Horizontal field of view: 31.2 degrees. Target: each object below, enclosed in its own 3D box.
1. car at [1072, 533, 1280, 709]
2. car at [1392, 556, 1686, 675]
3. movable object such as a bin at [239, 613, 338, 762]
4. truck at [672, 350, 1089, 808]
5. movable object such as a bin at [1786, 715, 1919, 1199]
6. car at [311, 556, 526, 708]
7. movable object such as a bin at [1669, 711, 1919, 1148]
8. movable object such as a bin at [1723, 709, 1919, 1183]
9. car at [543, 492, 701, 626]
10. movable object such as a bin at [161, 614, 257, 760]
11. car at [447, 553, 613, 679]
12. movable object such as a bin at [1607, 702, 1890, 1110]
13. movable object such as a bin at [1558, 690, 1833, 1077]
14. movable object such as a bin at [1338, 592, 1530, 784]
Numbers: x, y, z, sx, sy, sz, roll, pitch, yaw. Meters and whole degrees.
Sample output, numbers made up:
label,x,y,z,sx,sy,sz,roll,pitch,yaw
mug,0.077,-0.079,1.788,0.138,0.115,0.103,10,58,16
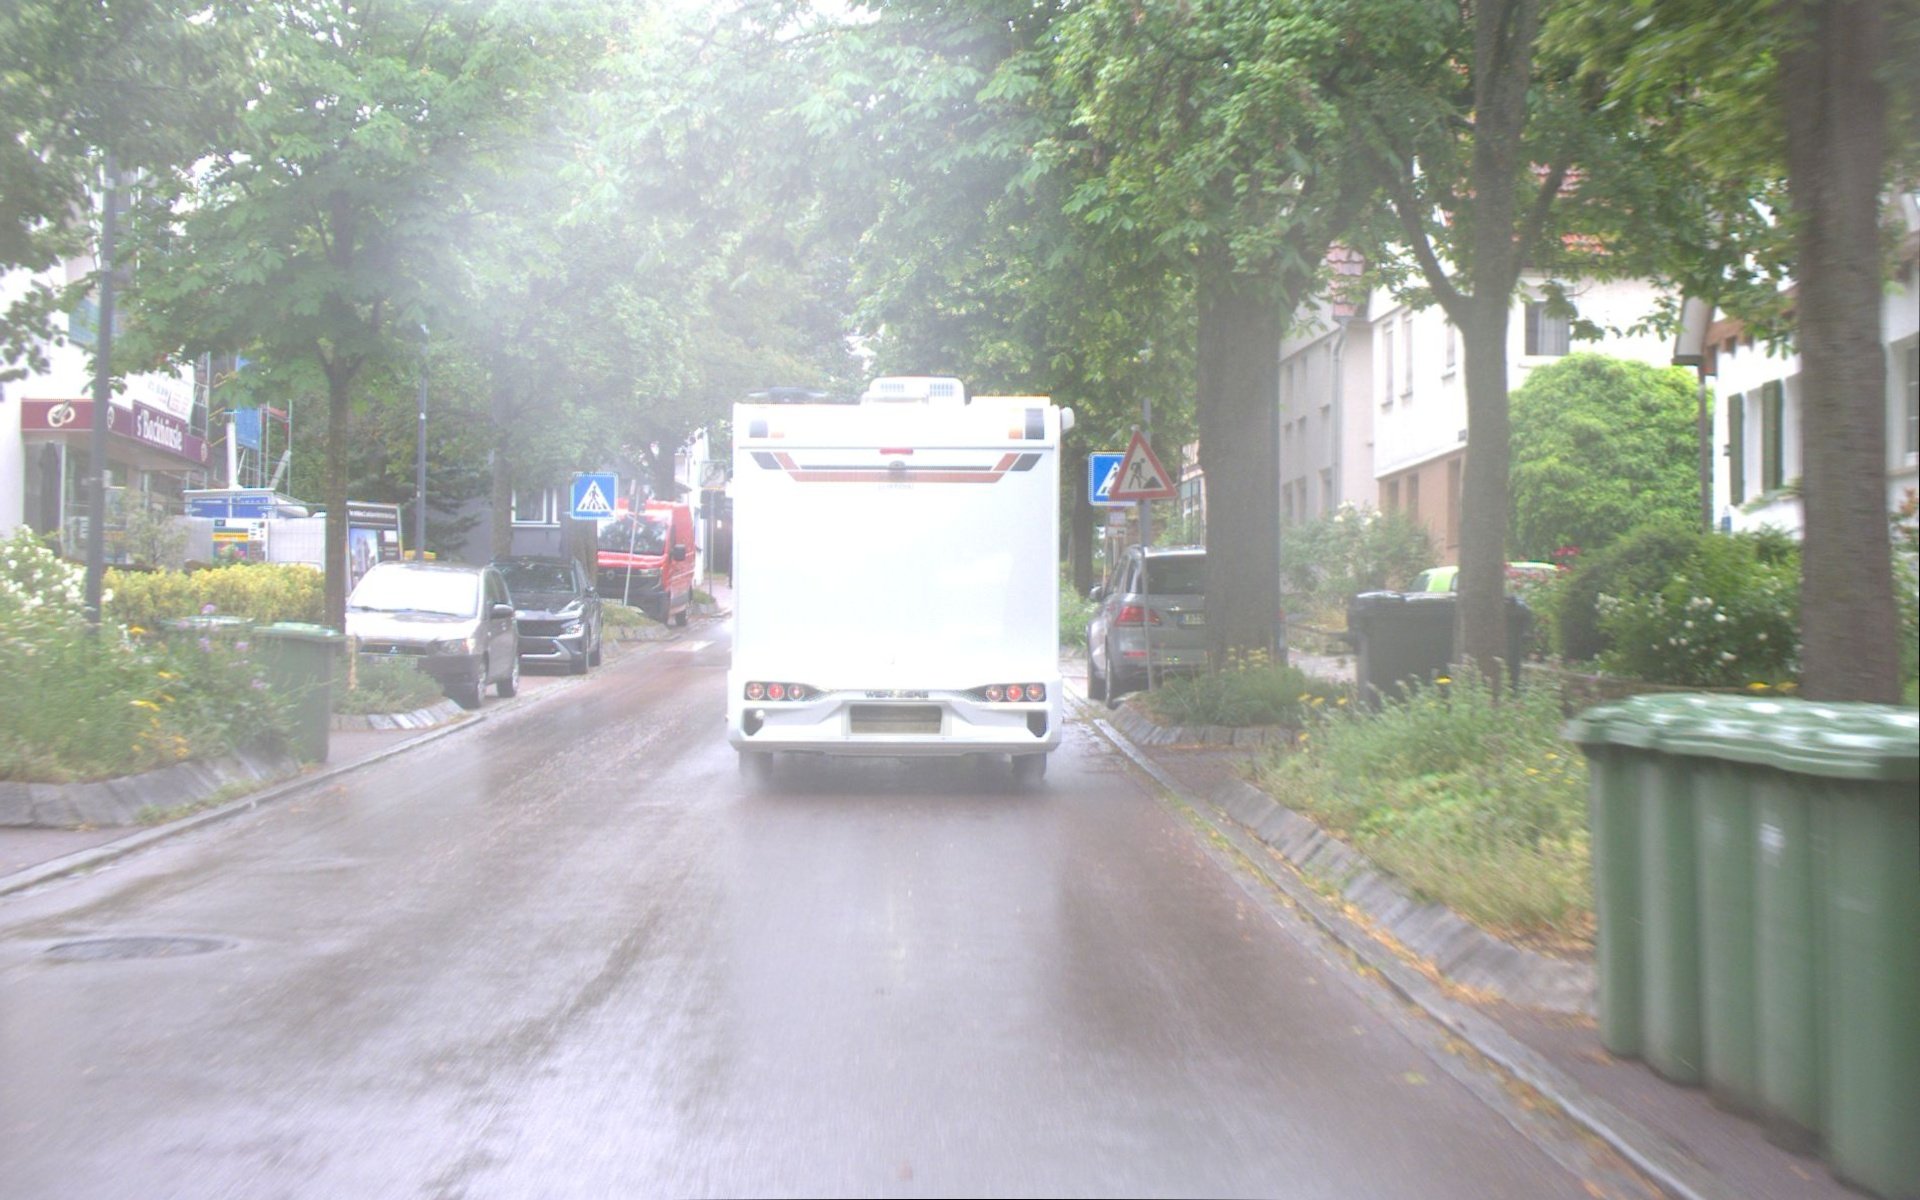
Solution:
label,x,y,z,sx,sy,sz,roll,pitch,yaw
car,2.306,0.188,37.808,1.914,1.786,4.489,1,1,-1
car,7.301,0.185,43.538,3.364,1.425,1.631,-1,1,-4
movable object such as a bin,-5.131,0.663,26.298,0.643,1.107,0.536,0,1,1
truck,-0.563,-0.158,25.770,2.694,2.975,6.237,1,0,-1
movable object such as a bin,2.273,0.812,7.665,0.688,1.079,0.541,1,0,-4
car,-5.899,0.311,37.857,1.647,1.528,3.865,2,1,1
movable object such as a bin,2.227,0.843,8.948,0.609,1.079,0.513,1,0,-4
movable object such as a bin,2.259,0.813,8.264,0.688,1.079,0.541,1,0,-4
car,-6.544,-0.850,67.190,2.303,2.474,5.785,1,2,2
movable object such as a bin,-5.820,0.669,26.647,0.610,1.107,0.564,0,1,1
car,-5.837,0.179,47.055,1.771,1.548,4.000,3,1,-1
movable object such as a bin,2.171,0.833,9.505,0.630,1.079,0.472,1,0,-4
movable object such as a bin,2.149,0.818,10.088,0.643,1.079,0.541,1,0,-4
movable object such as a bin,3.316,0.602,24.184,1.225,1.311,1.134,0,0,2
